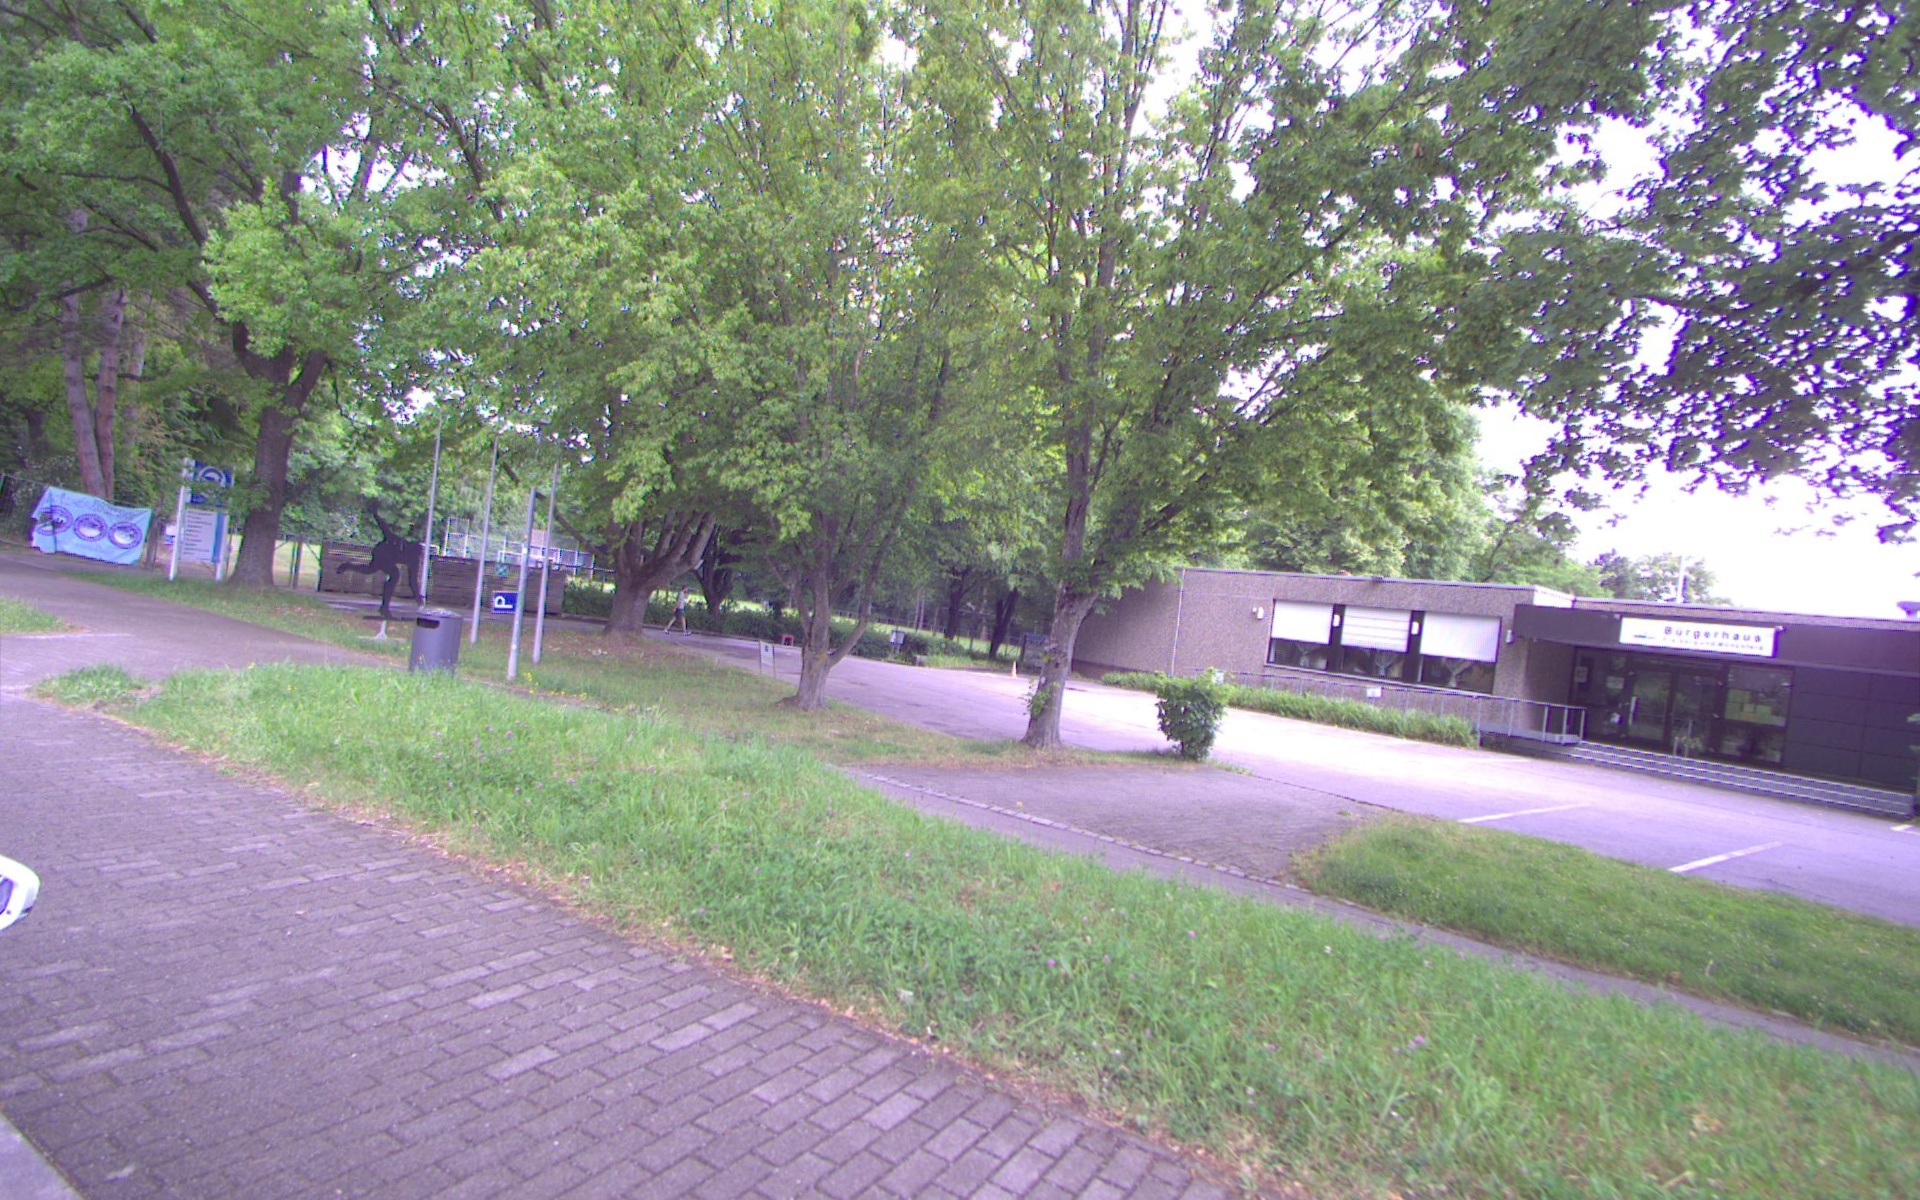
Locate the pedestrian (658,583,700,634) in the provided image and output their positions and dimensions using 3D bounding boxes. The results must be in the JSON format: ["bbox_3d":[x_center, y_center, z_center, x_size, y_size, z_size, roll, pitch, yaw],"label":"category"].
[{"bbox_3d":[-10.063,0.315,36.013,1.140,1.695,0.786,5,0,-33],"label":"pedestrian"}]
